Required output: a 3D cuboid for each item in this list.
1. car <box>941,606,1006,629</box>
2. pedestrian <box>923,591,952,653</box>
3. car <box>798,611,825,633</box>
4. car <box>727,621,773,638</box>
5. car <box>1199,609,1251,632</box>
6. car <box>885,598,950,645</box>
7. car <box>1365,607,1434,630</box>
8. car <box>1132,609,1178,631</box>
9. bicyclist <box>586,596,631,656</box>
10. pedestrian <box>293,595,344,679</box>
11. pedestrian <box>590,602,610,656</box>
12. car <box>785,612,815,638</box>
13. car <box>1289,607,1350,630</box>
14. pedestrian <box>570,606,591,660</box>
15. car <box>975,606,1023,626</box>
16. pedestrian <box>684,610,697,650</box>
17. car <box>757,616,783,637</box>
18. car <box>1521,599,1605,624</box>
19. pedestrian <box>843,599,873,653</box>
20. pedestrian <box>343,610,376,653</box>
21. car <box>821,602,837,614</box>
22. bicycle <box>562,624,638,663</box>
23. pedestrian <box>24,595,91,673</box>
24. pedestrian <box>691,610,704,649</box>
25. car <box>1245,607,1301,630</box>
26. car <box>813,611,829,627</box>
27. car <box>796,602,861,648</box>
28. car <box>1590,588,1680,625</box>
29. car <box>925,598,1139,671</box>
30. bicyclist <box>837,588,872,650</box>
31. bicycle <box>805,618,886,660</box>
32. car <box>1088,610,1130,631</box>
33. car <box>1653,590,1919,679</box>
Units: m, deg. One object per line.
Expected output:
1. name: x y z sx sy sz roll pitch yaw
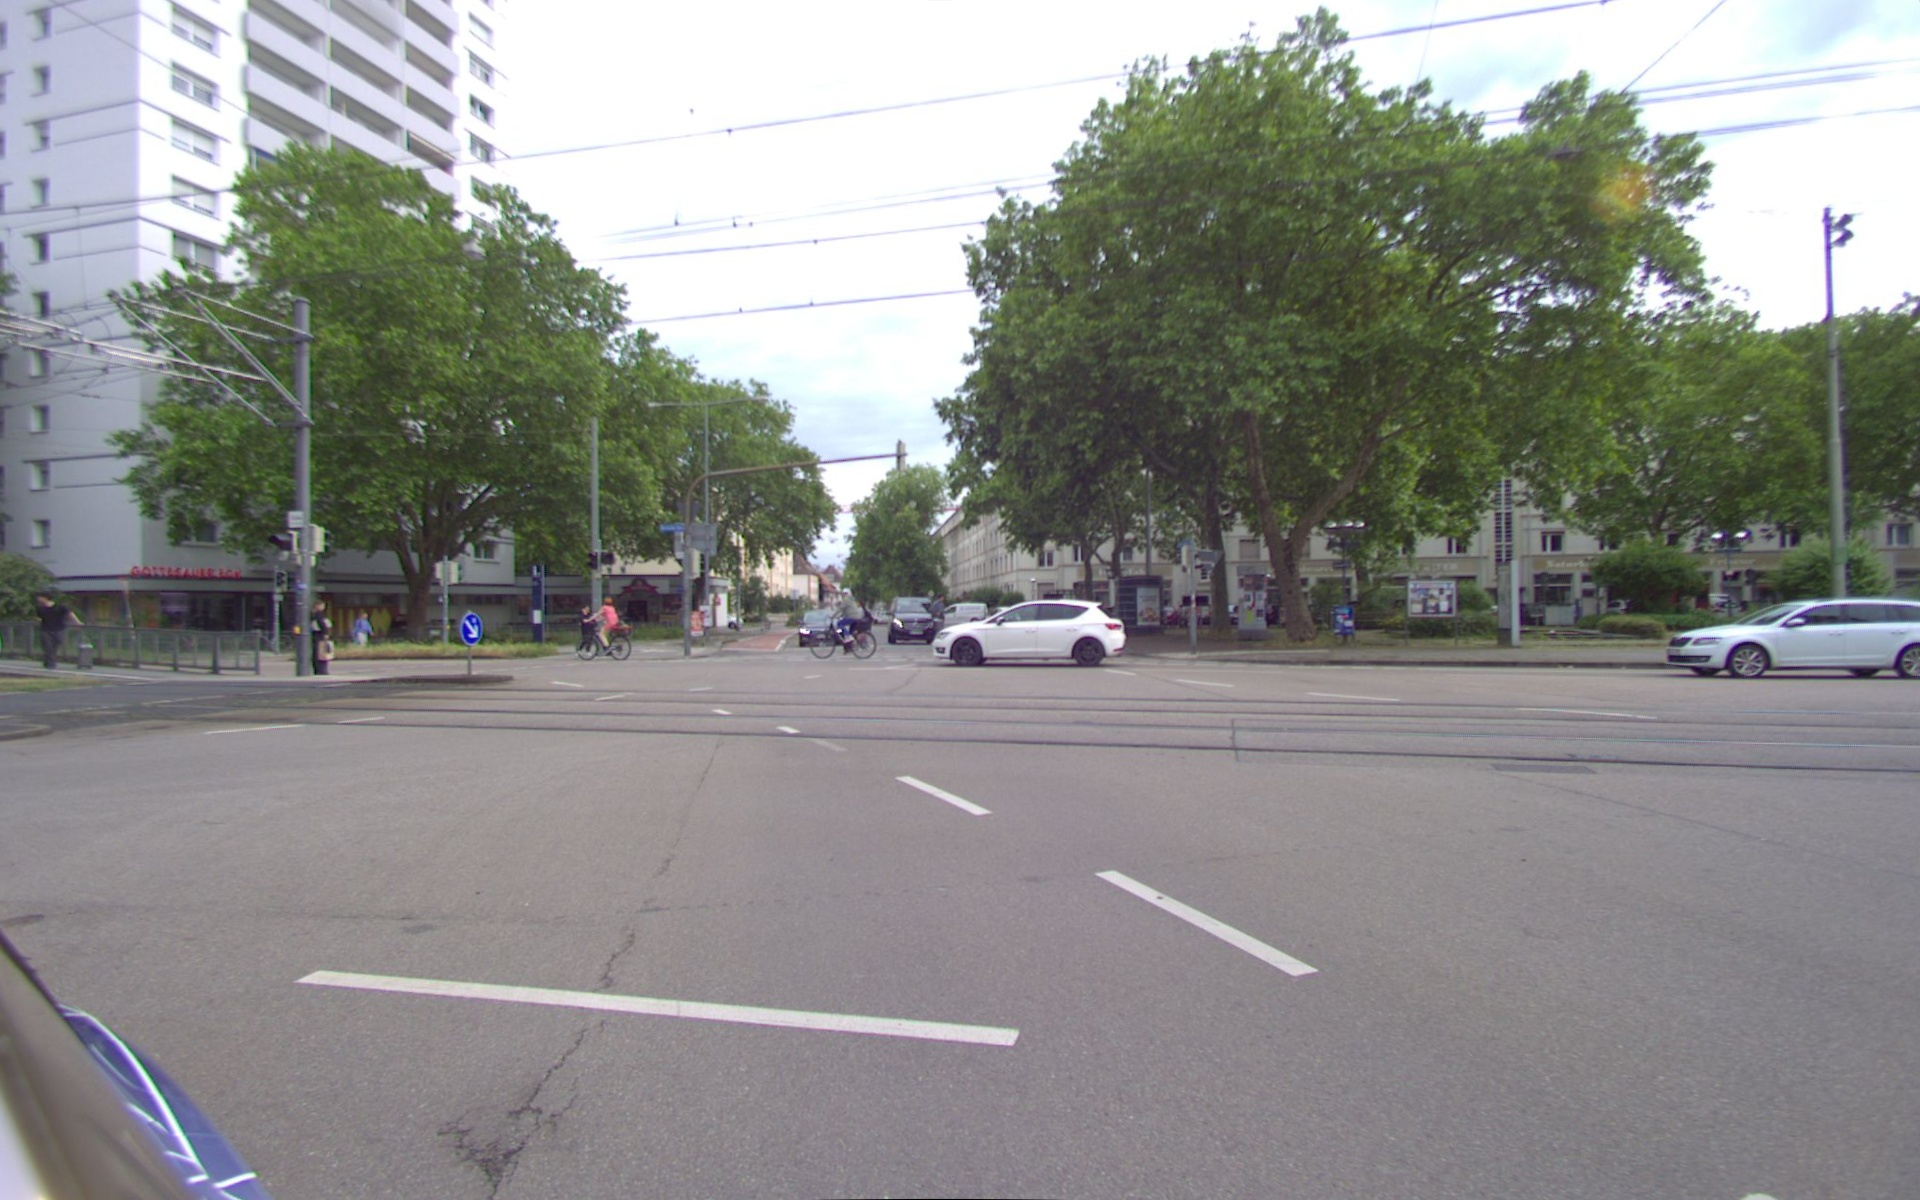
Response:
1. car: 1.039 1.364 77.587 4.775 1.676 1.995 -1 -1 8
2. pedestrian: -0.706 0.684 31.879 0.677 1.900 0.691 -1 1 -24
3. car: -12.403 1.846 84.491 1.970 1.730 4.004 -1 0 -5
4. car: -19.378 2.736 93.466 3.943 1.386 1.819 -1 1 -1
5. car: 17.130 1.304 65.636 1.971 1.400 4.834 -1 -1 -2
6. car: -1.614 0.898 39.910 1.891 1.732 3.729 -1 -3 8
7. car: 27.754 1.144 64.073 2.053 1.400 4.834 -1 -1 -2
8. car: 12.957 1.329 67.626 1.971 1.400 4.834 -1 -1 -2
9. bicyclist: -9.933 0.741 28.623 0.985 1.650 0.705 -1 -2 15
10. pedestrian: -13.923 0.793 21.980 0.622 1.763 0.653 -1 1 17
11. pedestrian: -10.926 0.875 30.713 0.496 1.624 0.368 -1 1 -17
12. car: -11.090 1.702 70.056 1.904 1.696 4.009 -1 -1 -11
13. car: 23.010 1.164 64.978 2.053 1.400 4.834 -1 -1 -2
14. pedestrian: -11.576 1.000 30.869 0.515 1.624 0.528 -1 1 -17
15. car: 3.092 1.263 80.751 1.772 1.497 4.010 -1 0 -35
16. pedestrian: -9.673 1.073 36.357 0.410 1.375 0.392 -1 1 -12
17. car: -15.522 2.127 82.651 1.968 1.563 3.917 -1 1 -9
18. car: 36.632 0.694 61.620 2.053 1.400 4.834 -1 -1 -2
19. pedestrian: -3.291 0.838 32.648 0.748 1.703 0.804 -1 -1 10
20. pedestrian: -21.510 1.119 36.251 0.847 1.520 0.551 -1 1 20
21. car: -23.389 1.448 180.914 1.975 2.029 3.993 -1 1 6
22. bicycle: -10.204 1.226 28.697 1.974 1.072 0.726 -1 -2 15
23. pedestrian: -20.278 0.748 22.747 0.871 1.708 0.739 -1 1 16
24. pedestrian: -9.453 1.071 36.415 0.410 1.375 0.392 -1 1 -12
25. car: 20.266 1.205 65.813 1.971 1.400 4.834 -1 -1 -2
26. car: -18.329 2.498 133.204 1.968 2.029 4.008 -1 1 -8
27. car: -5.247 1.053 40.697 1.645 1.732 3.729 -1 -3 8
28. car: 40.737 0.398 61.245 2.053 2.117 4.834 -1 -1 -2
29. car: 1.607 0.738 22.035 4.372 1.458 1.839 -1 1 15
30. bicyclist: -2.762 0.507 26.447 0.750 1.574 0.582 -1 -3 15
31. bicycle: -2.991 1.015 26.495 1.974 1.072 0.726 -1 -2 16
32. car: 10.076 1.370 68.788 1.971 1.400 4.834 -1 -1 -2
33. car: 16.368 0.637 18.591 5.649 1.537 1.838 -1 -2 15
